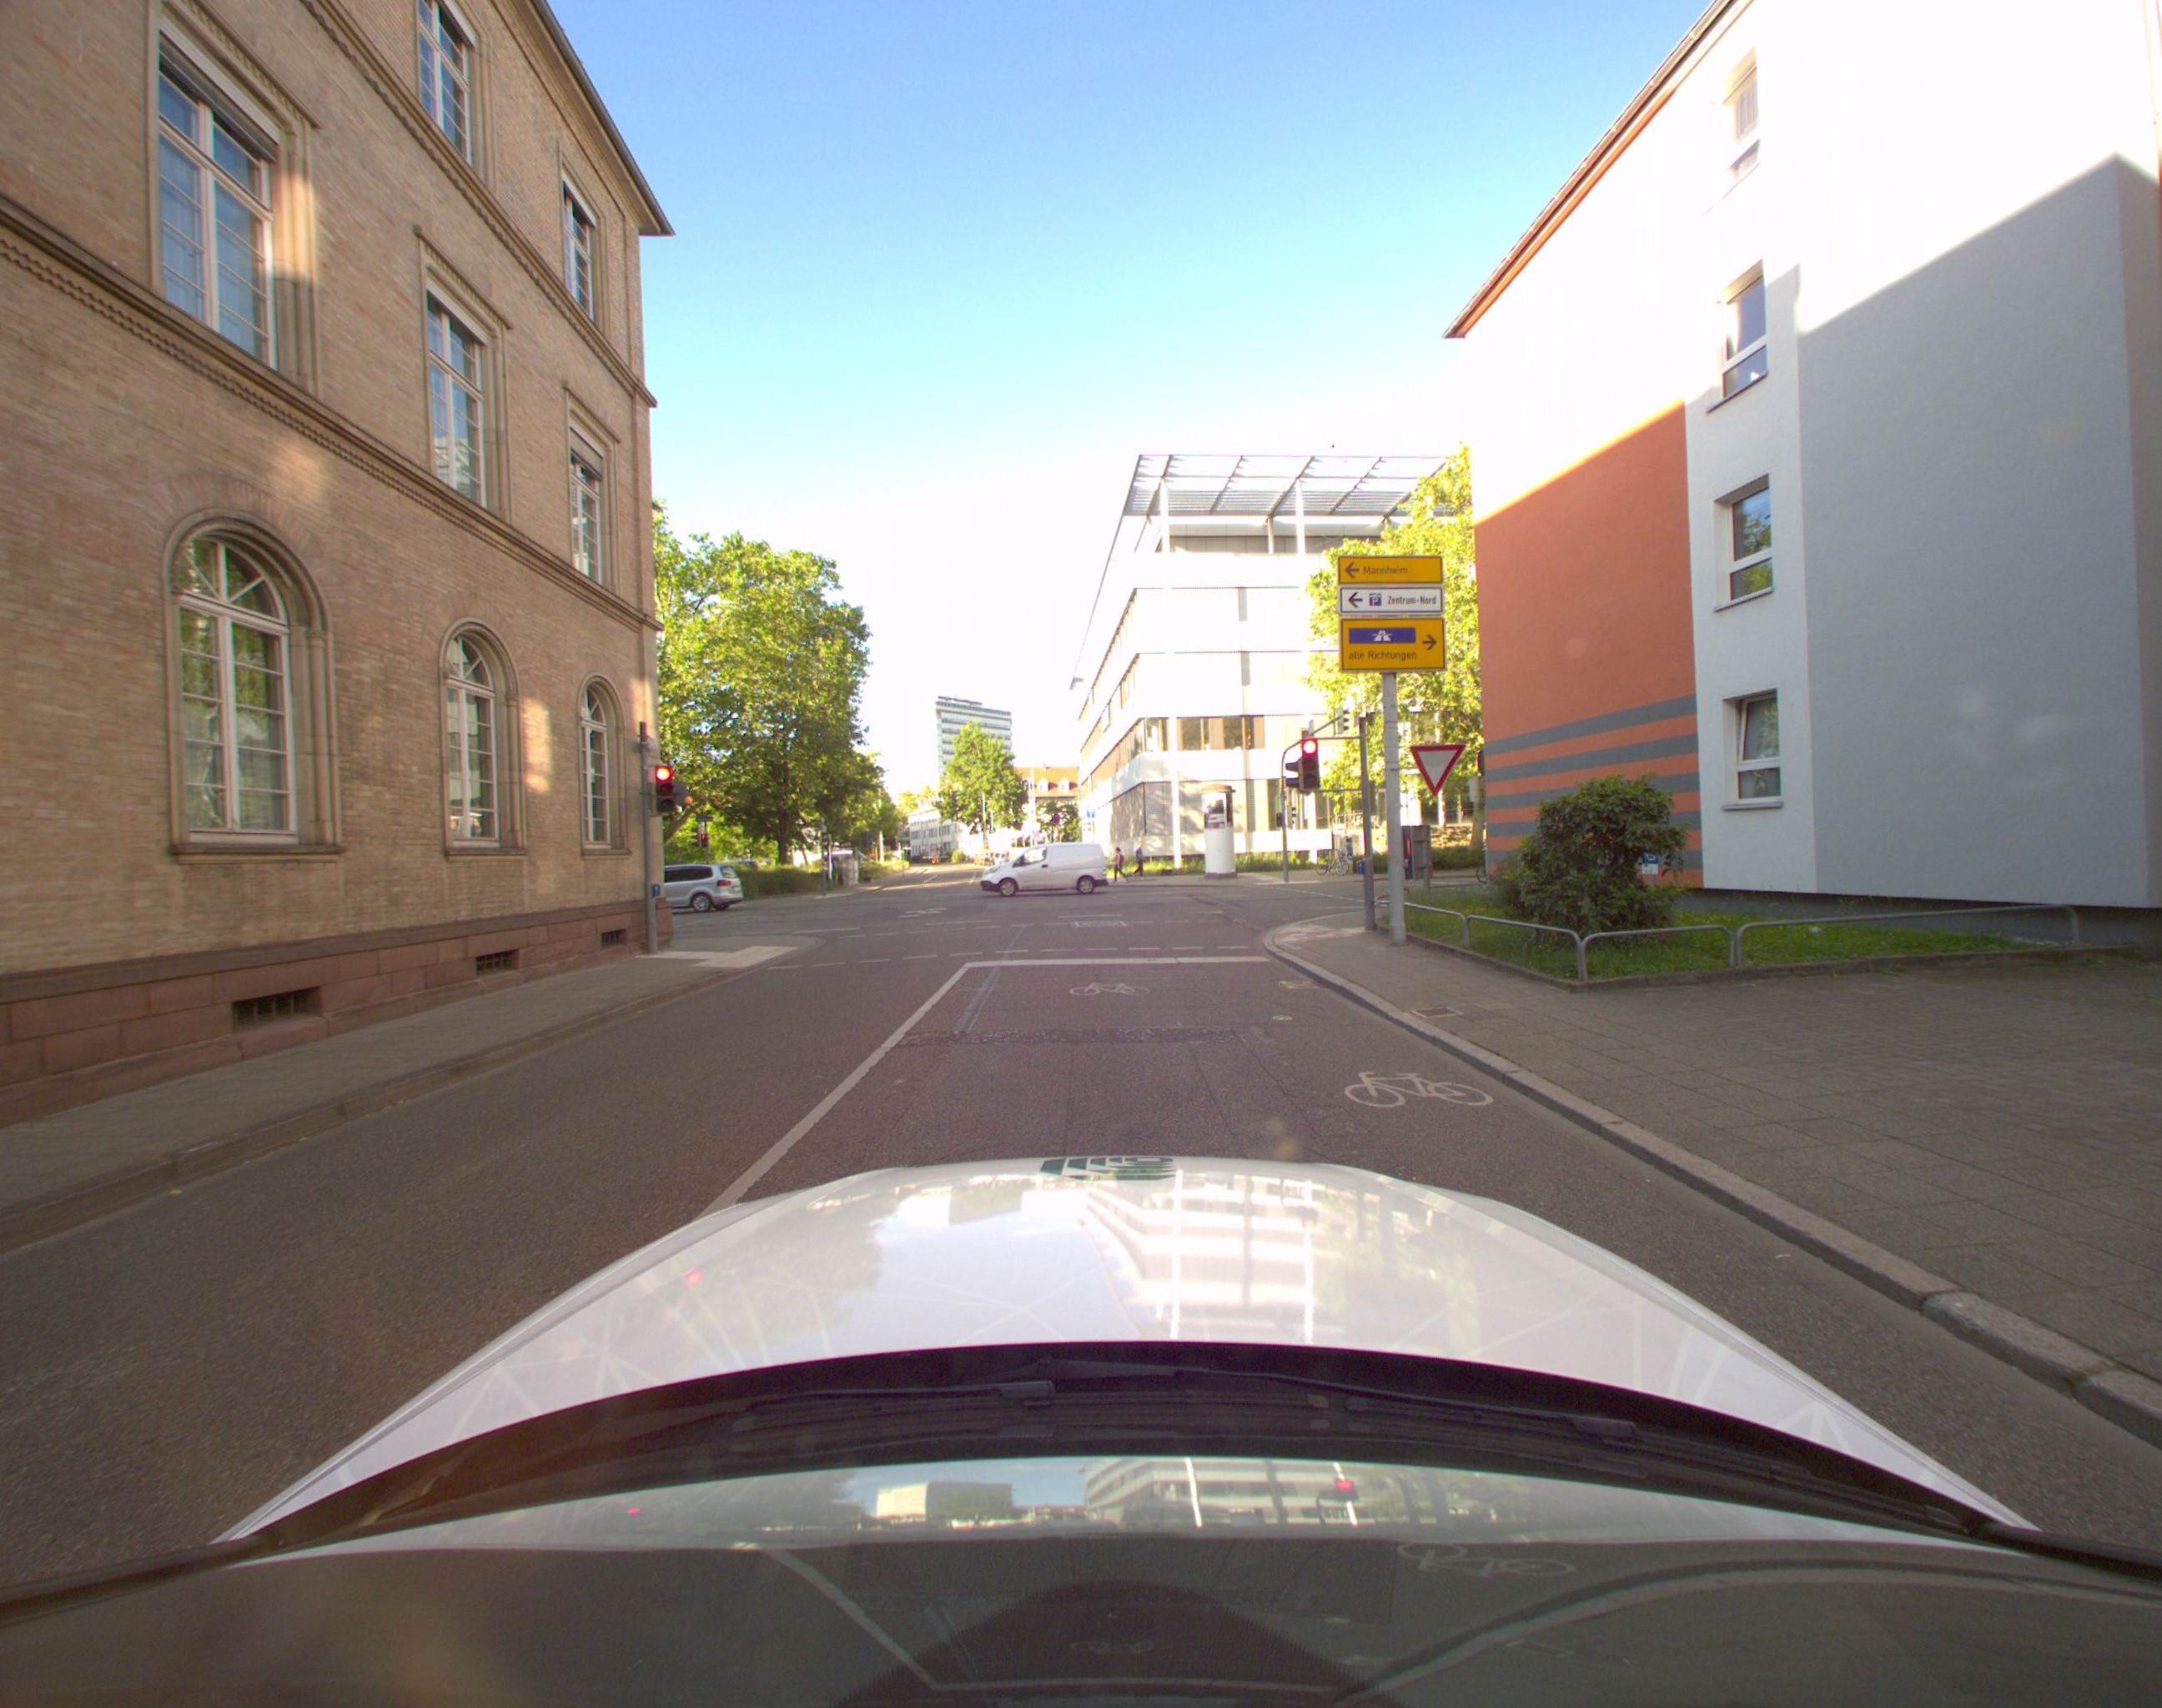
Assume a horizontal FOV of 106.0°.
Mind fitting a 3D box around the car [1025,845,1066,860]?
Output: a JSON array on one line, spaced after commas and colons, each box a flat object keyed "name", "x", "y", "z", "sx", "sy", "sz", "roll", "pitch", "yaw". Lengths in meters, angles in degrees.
[{"name": "car", "x": -4.562, "y": -0.198, "z": 103.162, "sx": 4.889, "sy": 1.872, "sz": 1.990, "roll": -1, "pitch": -1, "yaw": -15}]

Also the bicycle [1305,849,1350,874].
[{"name": "bicycle", "x": 10.885, "y": 0.348, "z": 35.997, "sx": 0.467, "sy": 1.049, "sz": 1.893, "roll": -2, "pitch": 0, "yaw": -40}]

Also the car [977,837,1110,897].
[{"name": "car", "x": -1.345, "y": 0.439, "z": 29.010, "sx": 4.533, "sy": 1.799, "sz": 1.634, "roll": -3, "pitch": 0, "yaw": -5}]

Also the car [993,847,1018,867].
[{"name": "car", "x": -7.121, "y": 0.274, "z": 76.856, "sx": 1.947, "sy": 1.795, "sz": 4.223, "roll": -2, "pitch": 0, "yaw": -11}]

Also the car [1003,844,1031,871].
[{"name": "car", "x": -5.155, "y": 0.252, "z": 64.931, "sx": 2.065, "sy": 1.963, "sz": 4.228, "roll": -2, "pitch": 0, "yaw": -7}]

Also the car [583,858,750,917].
[{"name": "car", "x": -14.280, "y": 1.122, "z": 28.270, "sx": 4.750, "sy": 1.707, "sz": 1.797, "roll": -3, "pitch": 0, "yaw": -4}]

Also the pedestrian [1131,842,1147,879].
[{"name": "pedestrian", "x": 2.778, "y": 0.297, "z": 39.217, "sx": 0.649, "sy": 1.736, "sz": 0.814, "roll": -2, "pitch": 0, "yaw": 8}]

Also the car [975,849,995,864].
[{"name": "car", "x": -11.346, "y": 0.233, "z": 96.119, "sx": 2.100, "sy": 1.657, "sz": 4.461, "roll": -2, "pitch": 0, "yaw": -9}]

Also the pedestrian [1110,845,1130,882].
[{"name": "pedestrian", "x": 1.745, "y": 0.407, "z": 36.371, "sx": 0.706, "sy": 1.599, "sz": 0.620, "roll": -2, "pitch": 0, "yaw": 19}]

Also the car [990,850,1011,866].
[{"name": "car", "x": -8.097, "y": 0.395, "z": 81.519, "sx": 1.705, "sy": 1.424, "sz": 4.221, "roll": -2, "pitch": 0, "yaw": -11}]

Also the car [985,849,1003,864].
[{"name": "car", "x": -9.234, "y": 0.280, "z": 86.238, "sx": 1.704, "sy": 1.464, "sz": 4.225, "roll": -2, "pitch": 0, "yaw": -9}]

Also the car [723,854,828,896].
[{"name": "car", "x": -14.419, "y": 0.963, "z": 38.633, "sx": 4.219, "sy": 1.777, "sz": 1.901, "roll": -2, "pitch": 0, "yaw": -7}]
